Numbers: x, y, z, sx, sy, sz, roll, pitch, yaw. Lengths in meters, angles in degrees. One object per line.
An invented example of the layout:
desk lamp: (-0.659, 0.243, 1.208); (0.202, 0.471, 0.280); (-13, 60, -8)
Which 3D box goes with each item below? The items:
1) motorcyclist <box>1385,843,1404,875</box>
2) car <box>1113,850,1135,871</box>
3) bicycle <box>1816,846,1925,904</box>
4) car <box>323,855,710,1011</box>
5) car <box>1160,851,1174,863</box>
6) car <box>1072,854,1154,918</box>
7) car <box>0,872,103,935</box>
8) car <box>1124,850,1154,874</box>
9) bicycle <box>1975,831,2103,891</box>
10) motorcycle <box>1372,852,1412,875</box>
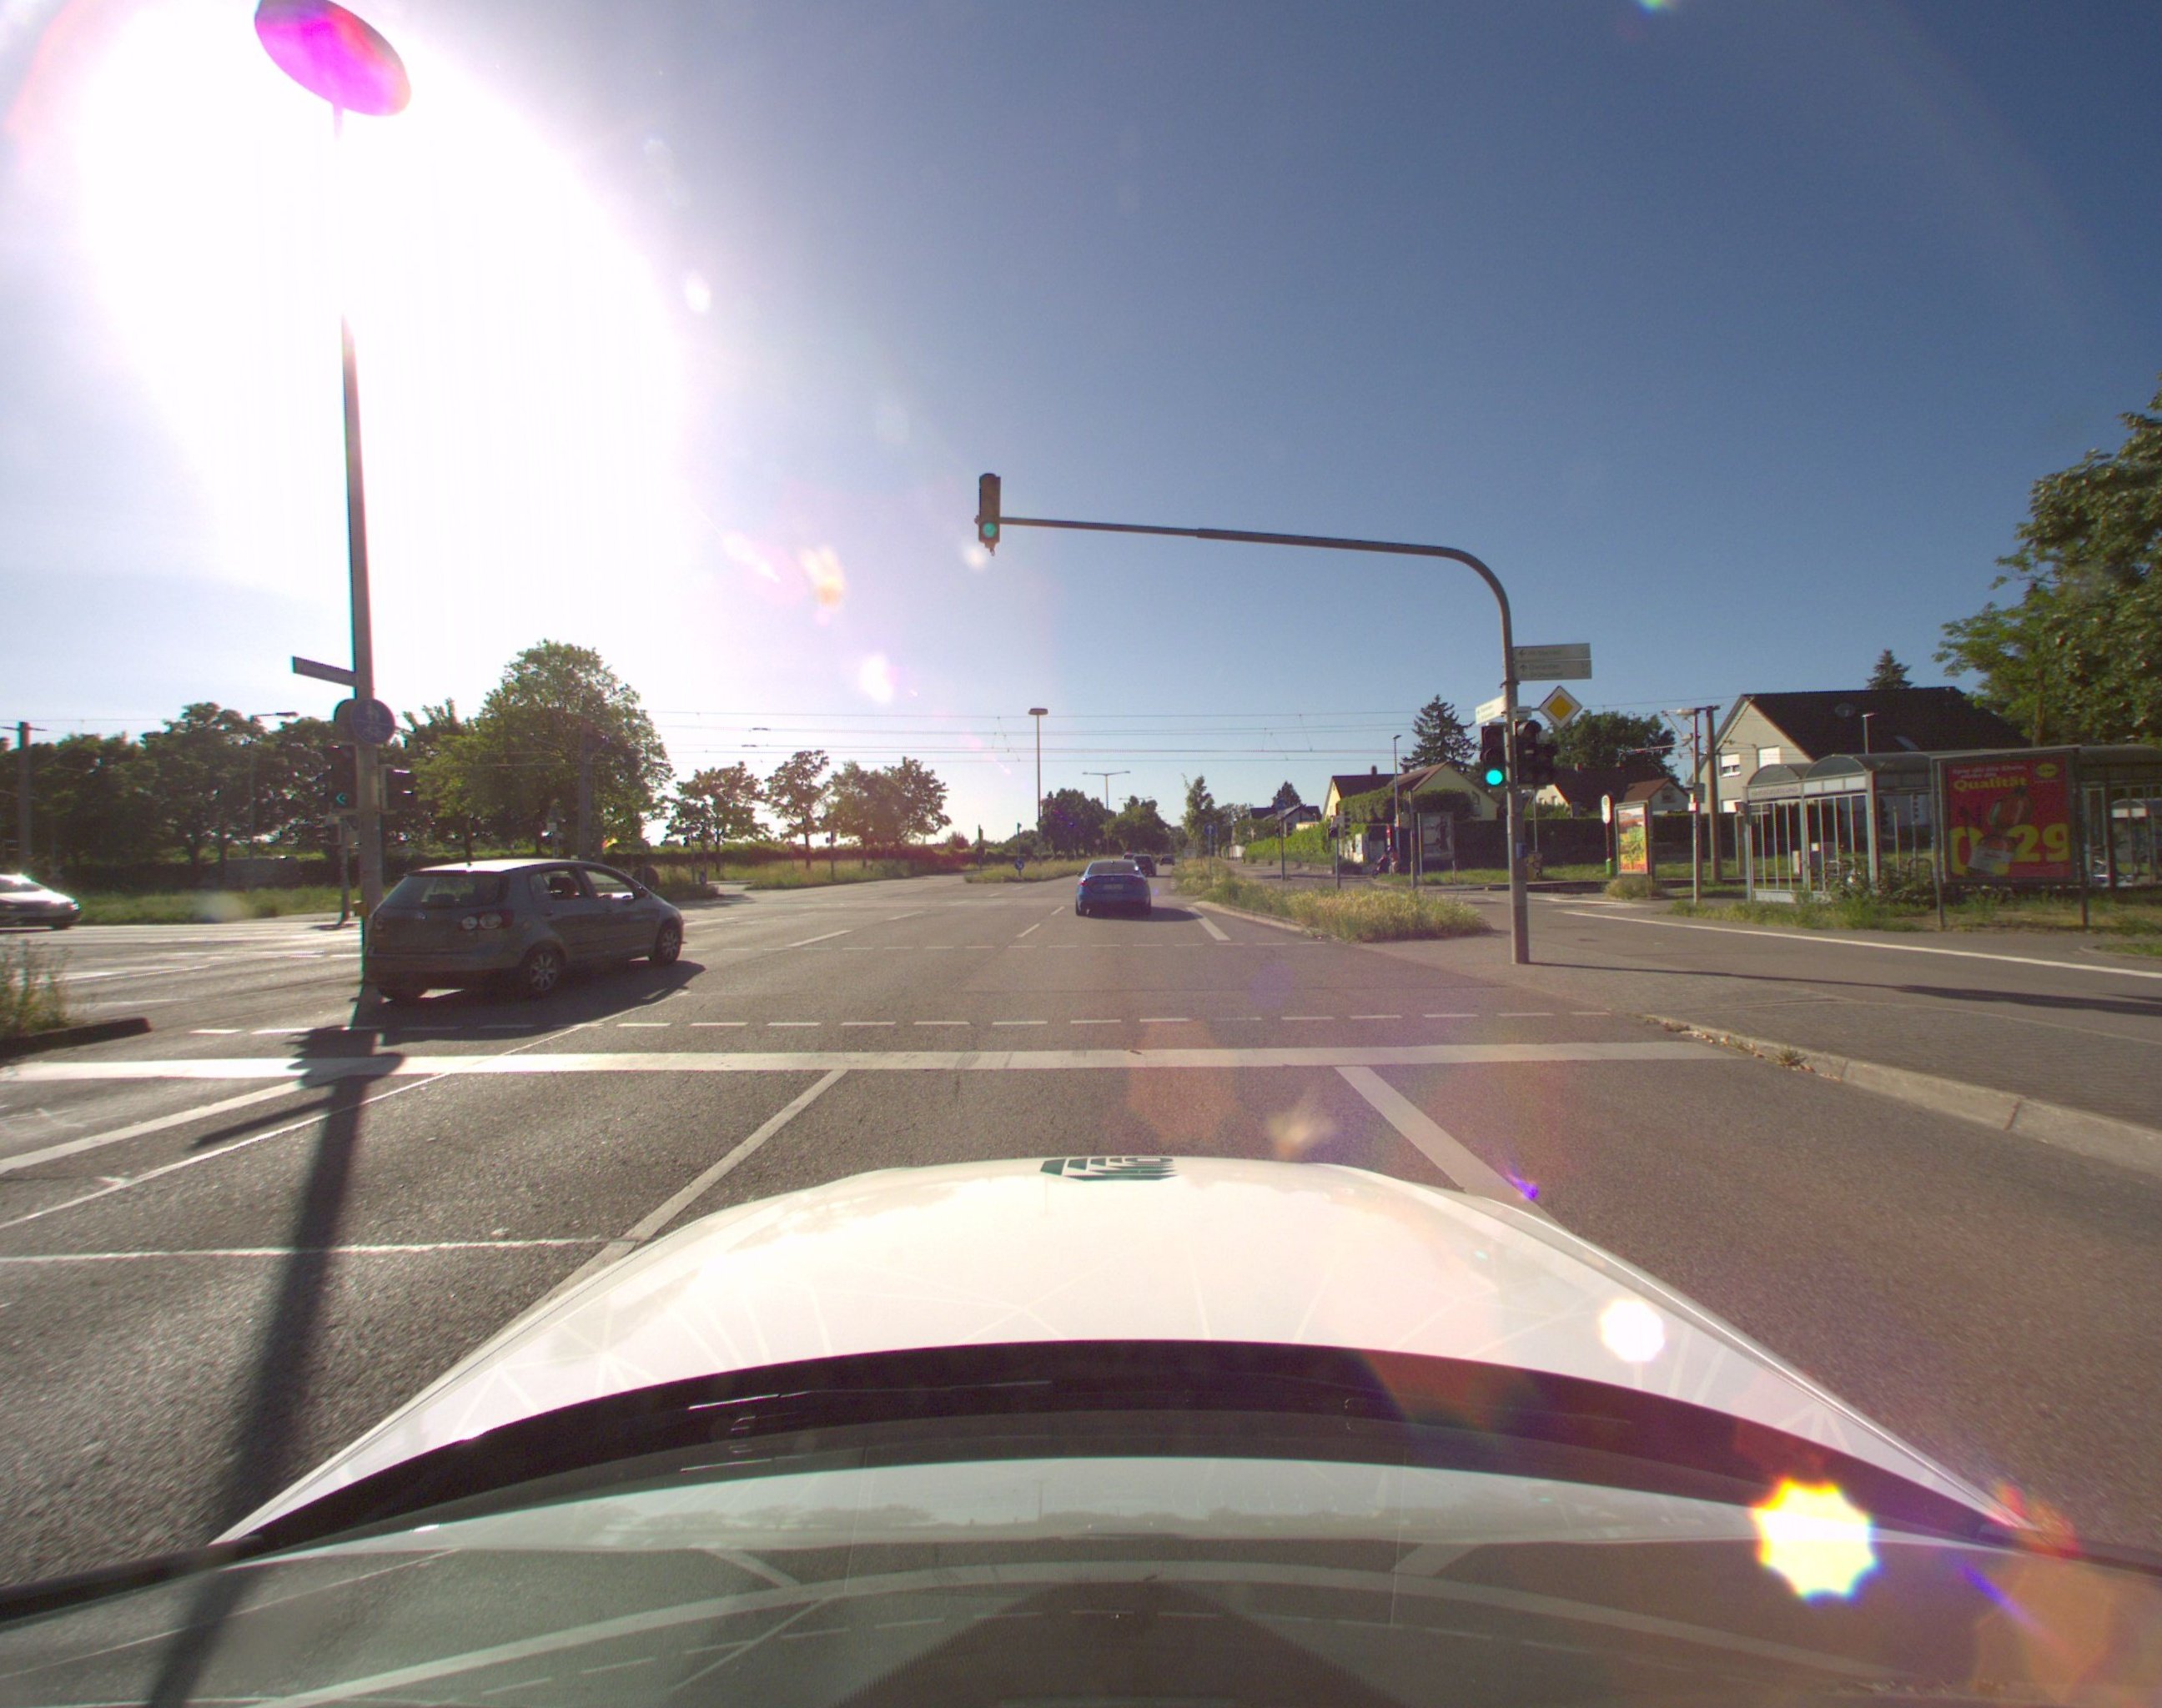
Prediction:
motorcyclist: (15.460, 0.234, 40.180); (0.689, 1.558, 0.701); (-2, 0, 7)
car: (4.180, 0.601, 78.685); (1.783, 2.013, 4.009); (-1, 0, 8)
bicycle: (15.934, 0.450, 16.499); (0.428, 1.068, 1.786); (-4, -5, 4)
car: (-6.883, 0.825, 10.676); (1.834, 1.570, 4.389); (-1, 0, 3)
car: (11.100, 0.391, 105.065); (1.652, 1.579, 3.817); (-1, 0, 7)
car: (0.757, 0.771, 21.723); (1.834, 1.474, 4.181); (-1, 0, -2)
car: (-29.001, 1.305, 21.564); (3.901, 1.560, 1.852); (-1, 0, -1)
car: (3.970, 0.527, 55.375); (1.906, 1.579, 4.187); (-1, 0, 4)
bicycle: (19.252, 0.174, 16.432); (0.428, 1.068, 1.786); (-4, -5, 4)
motorcycle: (15.327, 0.471, 40.206); (1.746, 1.071, 0.452); (-2, 0, 7)
